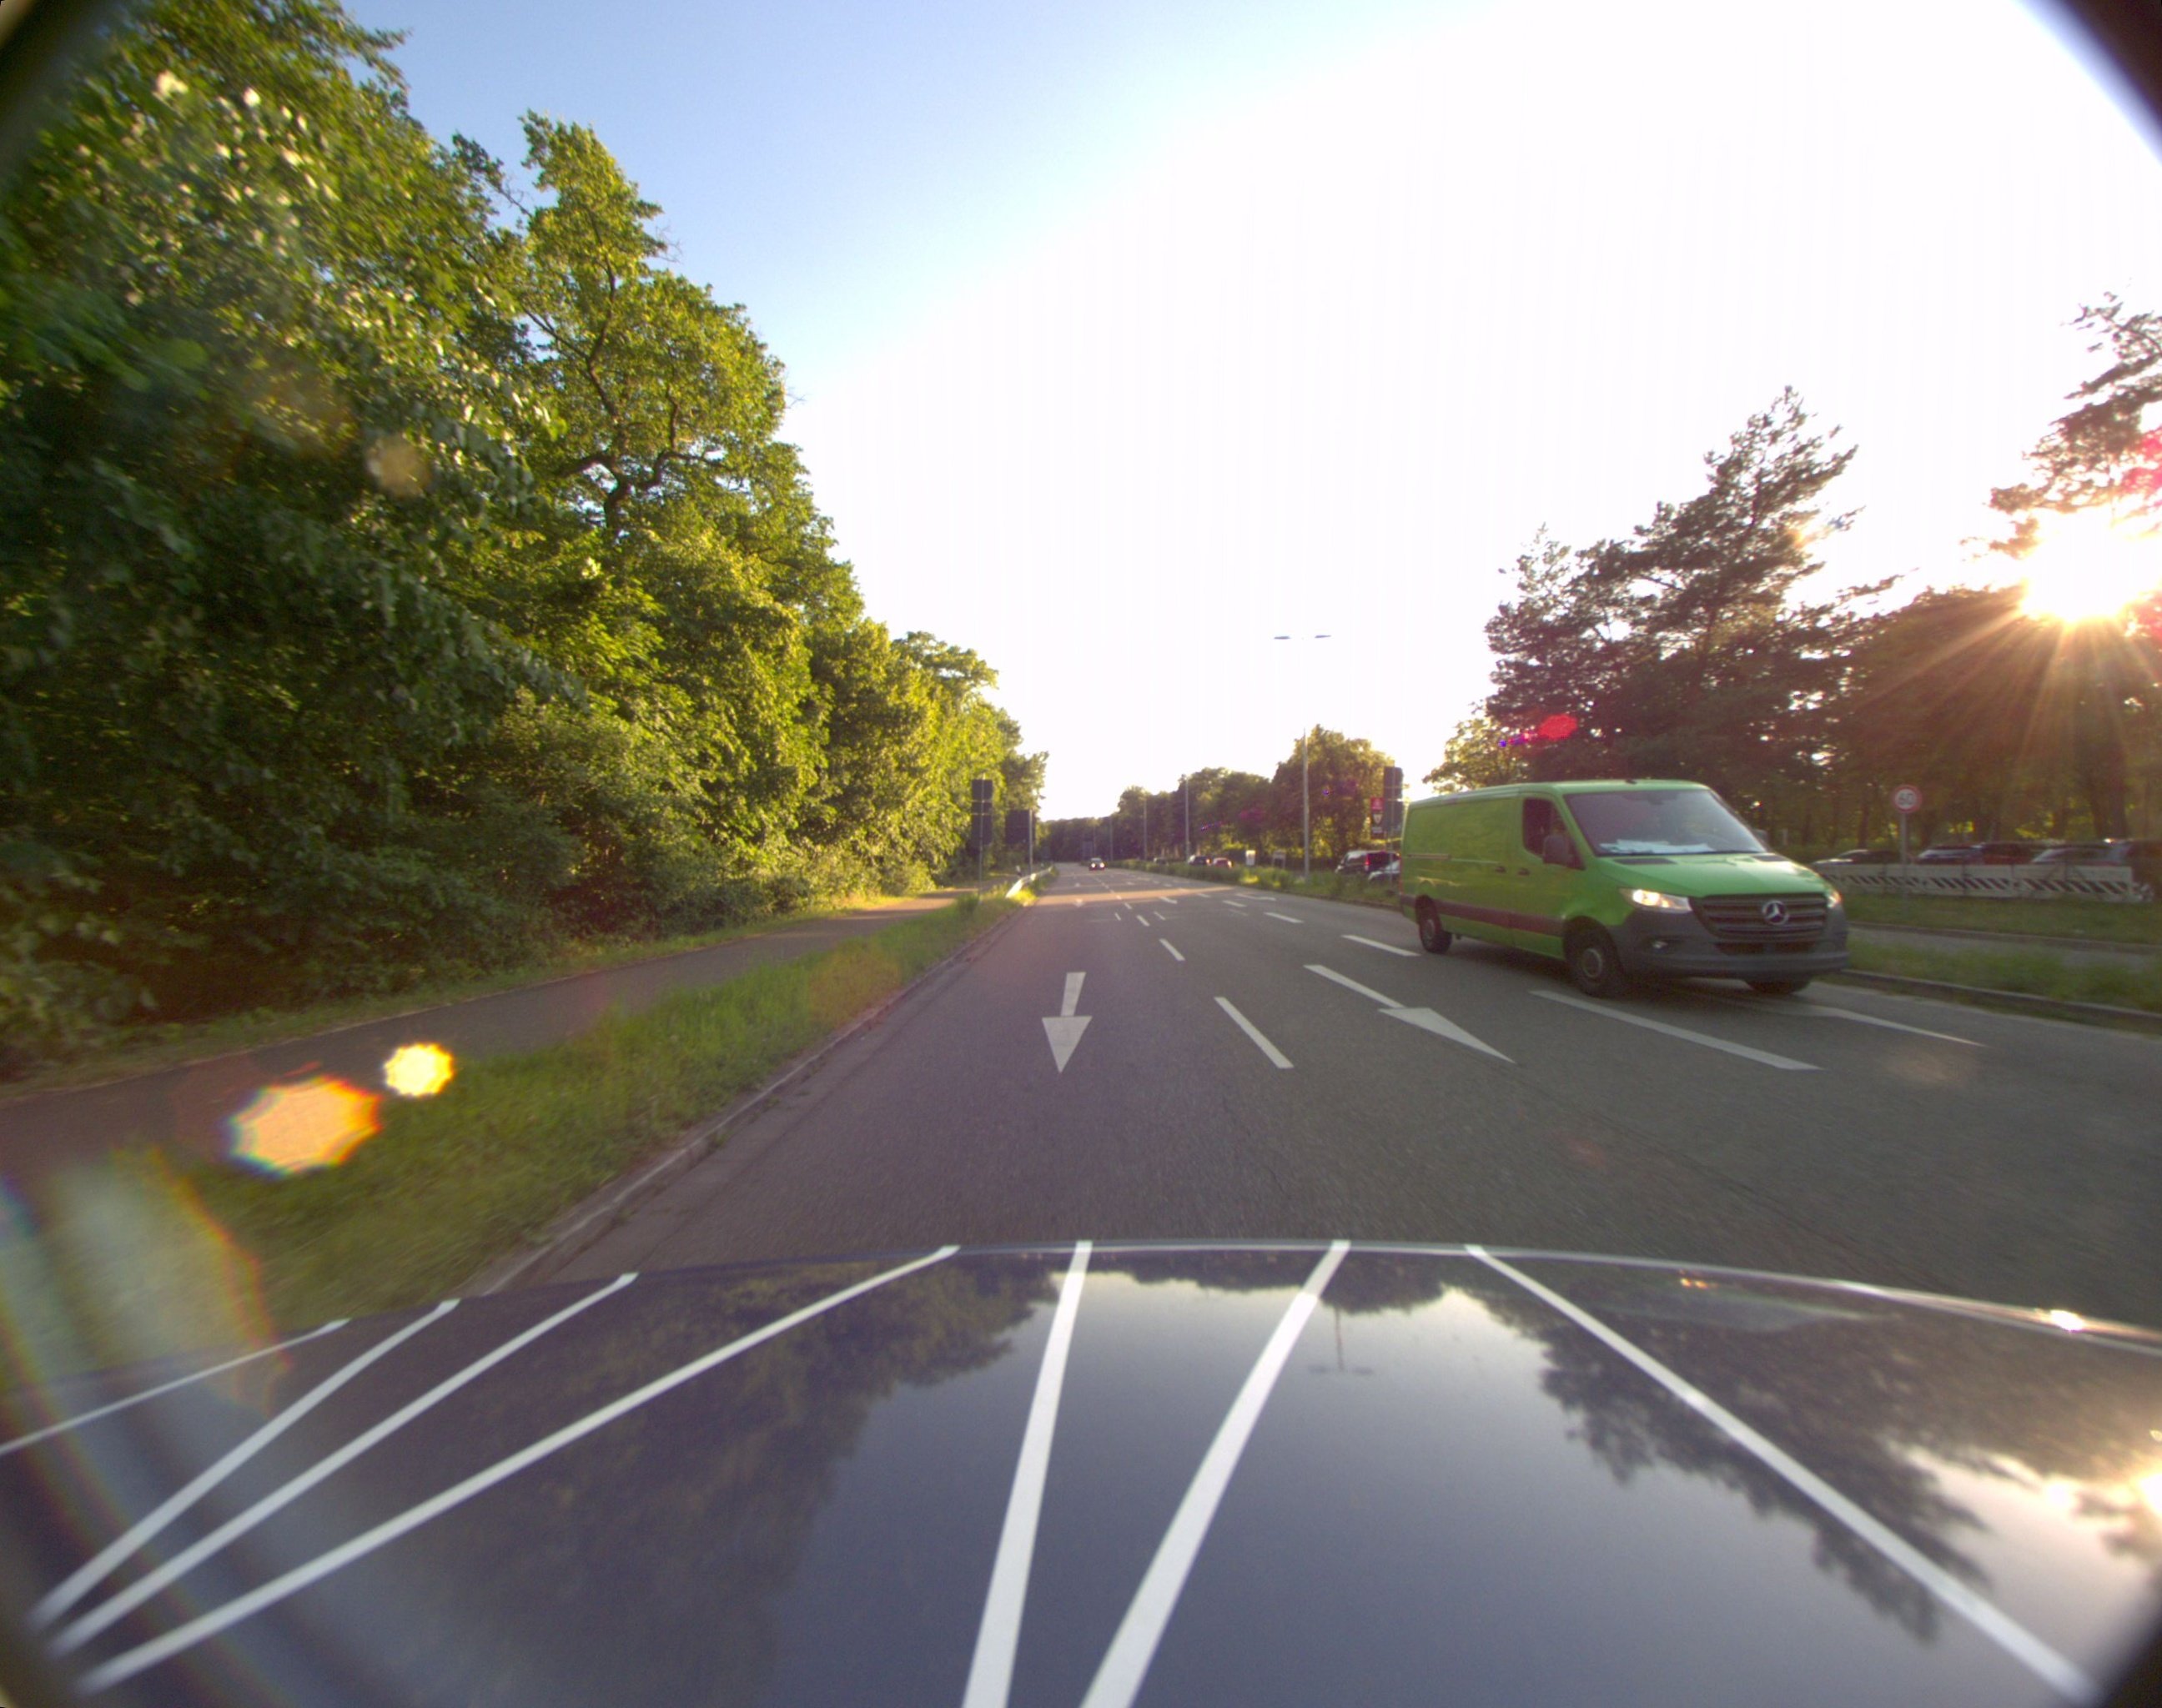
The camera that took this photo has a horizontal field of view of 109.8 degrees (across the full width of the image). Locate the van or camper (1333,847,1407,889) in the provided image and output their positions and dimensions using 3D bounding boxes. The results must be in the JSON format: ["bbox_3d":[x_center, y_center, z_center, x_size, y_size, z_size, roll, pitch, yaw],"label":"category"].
[{"bbox_3d":[14.636,0.696,38.755,1.999,2.002,4.578,-1,0,-1],"label":"van or camper"}]

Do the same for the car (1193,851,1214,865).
[{"bbox_3d":[14.169,0.462,88.031,1.760,1.532,3.999,-3,1,0],"label":"car"}]

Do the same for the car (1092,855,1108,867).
[{"bbox_3d":[2.613,0.913,102.915,1.999,1.543,4.000,-1,0,-1],"label":"car"}]

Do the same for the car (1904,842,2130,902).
[{"bbox_3d":[27.163,0.503,22.154,4.524,1.608,1.771,-1,0,-1],"label":"car"}]

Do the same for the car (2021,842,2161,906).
[{"bbox_3d":[26.241,0.479,19.139,3.098,1.518,1.659,-1,0,0],"label":"car"}]

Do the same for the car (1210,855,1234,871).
[{"bbox_3d":[14.807,0.936,79.978,1.760,1.532,3.999,-3,1,0],"label":"car"}]

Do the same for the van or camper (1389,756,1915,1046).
[{"bbox_3d":[5.982,0.402,9.314,1.999,2.407,5.896,-1,0,0],"label":"van or camper"}]
